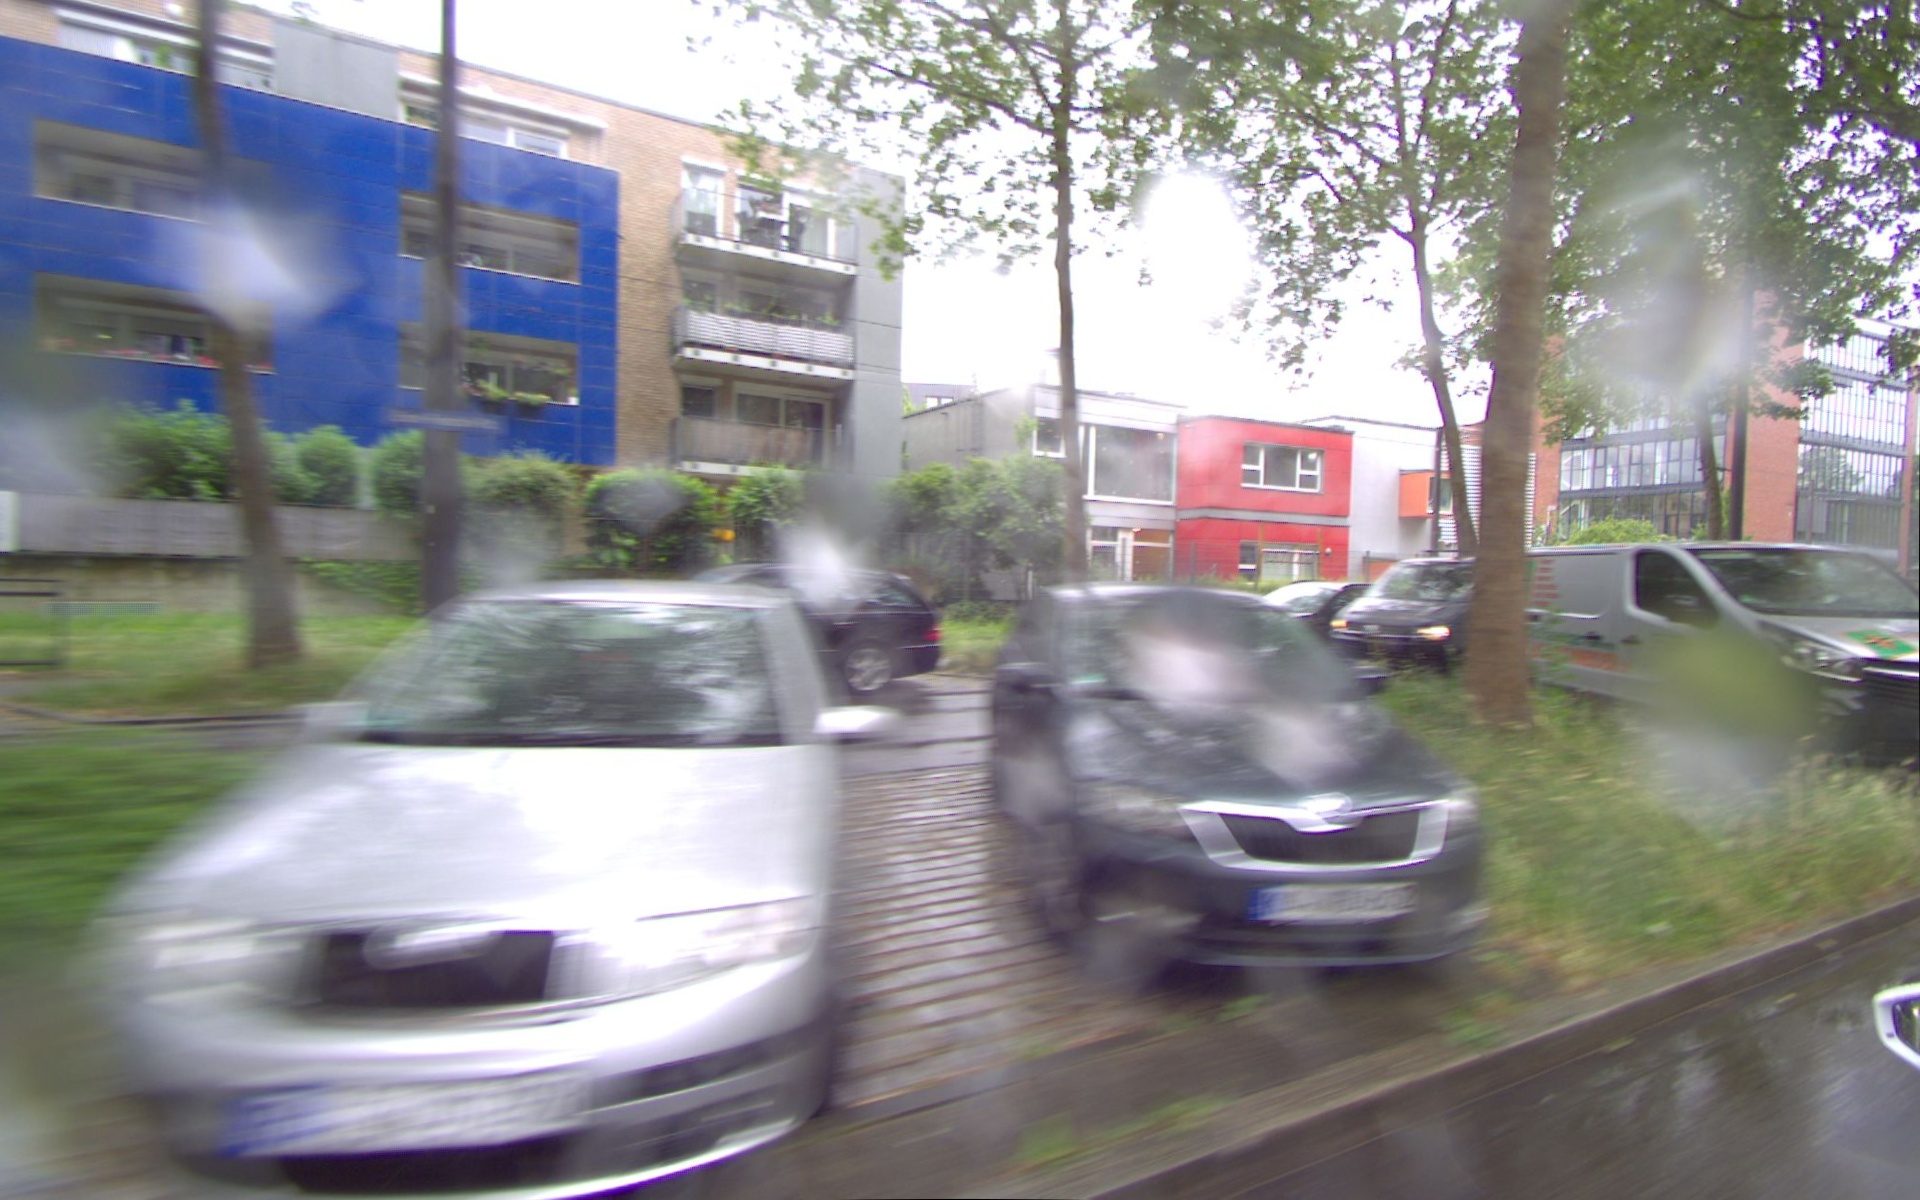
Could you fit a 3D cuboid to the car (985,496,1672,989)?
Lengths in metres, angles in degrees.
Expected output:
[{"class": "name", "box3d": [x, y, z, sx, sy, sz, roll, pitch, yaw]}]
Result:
[{"class": "car", "box3d": [1.161, 0.344, 5.153, 1.714, 1.456, 4.313, 1, 2, -3]}]

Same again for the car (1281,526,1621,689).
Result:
[{"class": "car", "box3d": [7.216, 0.069, 14.628, 4.970, 2.041, 1.983, 1, 3, -31]}]

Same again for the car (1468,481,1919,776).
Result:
[{"class": "car", "box3d": [7.063, 0.188, 9.394, 2.061, 2.004, 5.132, 1, 0, 1]}]

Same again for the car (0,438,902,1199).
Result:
[{"class": "car", "box3d": [-1.176, 0.417, 3.729, 1.714, 1.519, 4.064, 0, 2, -6]}]

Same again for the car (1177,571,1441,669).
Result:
[{"class": "car", "box3d": [5.842, 0.253, 16.705, 4.225, 1.439, 1.982, -1, 2, -33]}]

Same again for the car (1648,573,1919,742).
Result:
[{"class": "car", "box3d": [9.421, 0.511, 10.652, 1.688, 1.502, 3.786, 1, 0, 1]}]

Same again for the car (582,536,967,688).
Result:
[{"class": "car", "box3d": [-2.215, 0.085, 12.038, 4.181, 1.540, 1.987, 0, 2, -26]}]

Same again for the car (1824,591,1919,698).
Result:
[{"class": "car", "box3d": [14.337, 0.636, 13.377, 1.740, 1.502, 4.561, 1, 0, 0]}]
